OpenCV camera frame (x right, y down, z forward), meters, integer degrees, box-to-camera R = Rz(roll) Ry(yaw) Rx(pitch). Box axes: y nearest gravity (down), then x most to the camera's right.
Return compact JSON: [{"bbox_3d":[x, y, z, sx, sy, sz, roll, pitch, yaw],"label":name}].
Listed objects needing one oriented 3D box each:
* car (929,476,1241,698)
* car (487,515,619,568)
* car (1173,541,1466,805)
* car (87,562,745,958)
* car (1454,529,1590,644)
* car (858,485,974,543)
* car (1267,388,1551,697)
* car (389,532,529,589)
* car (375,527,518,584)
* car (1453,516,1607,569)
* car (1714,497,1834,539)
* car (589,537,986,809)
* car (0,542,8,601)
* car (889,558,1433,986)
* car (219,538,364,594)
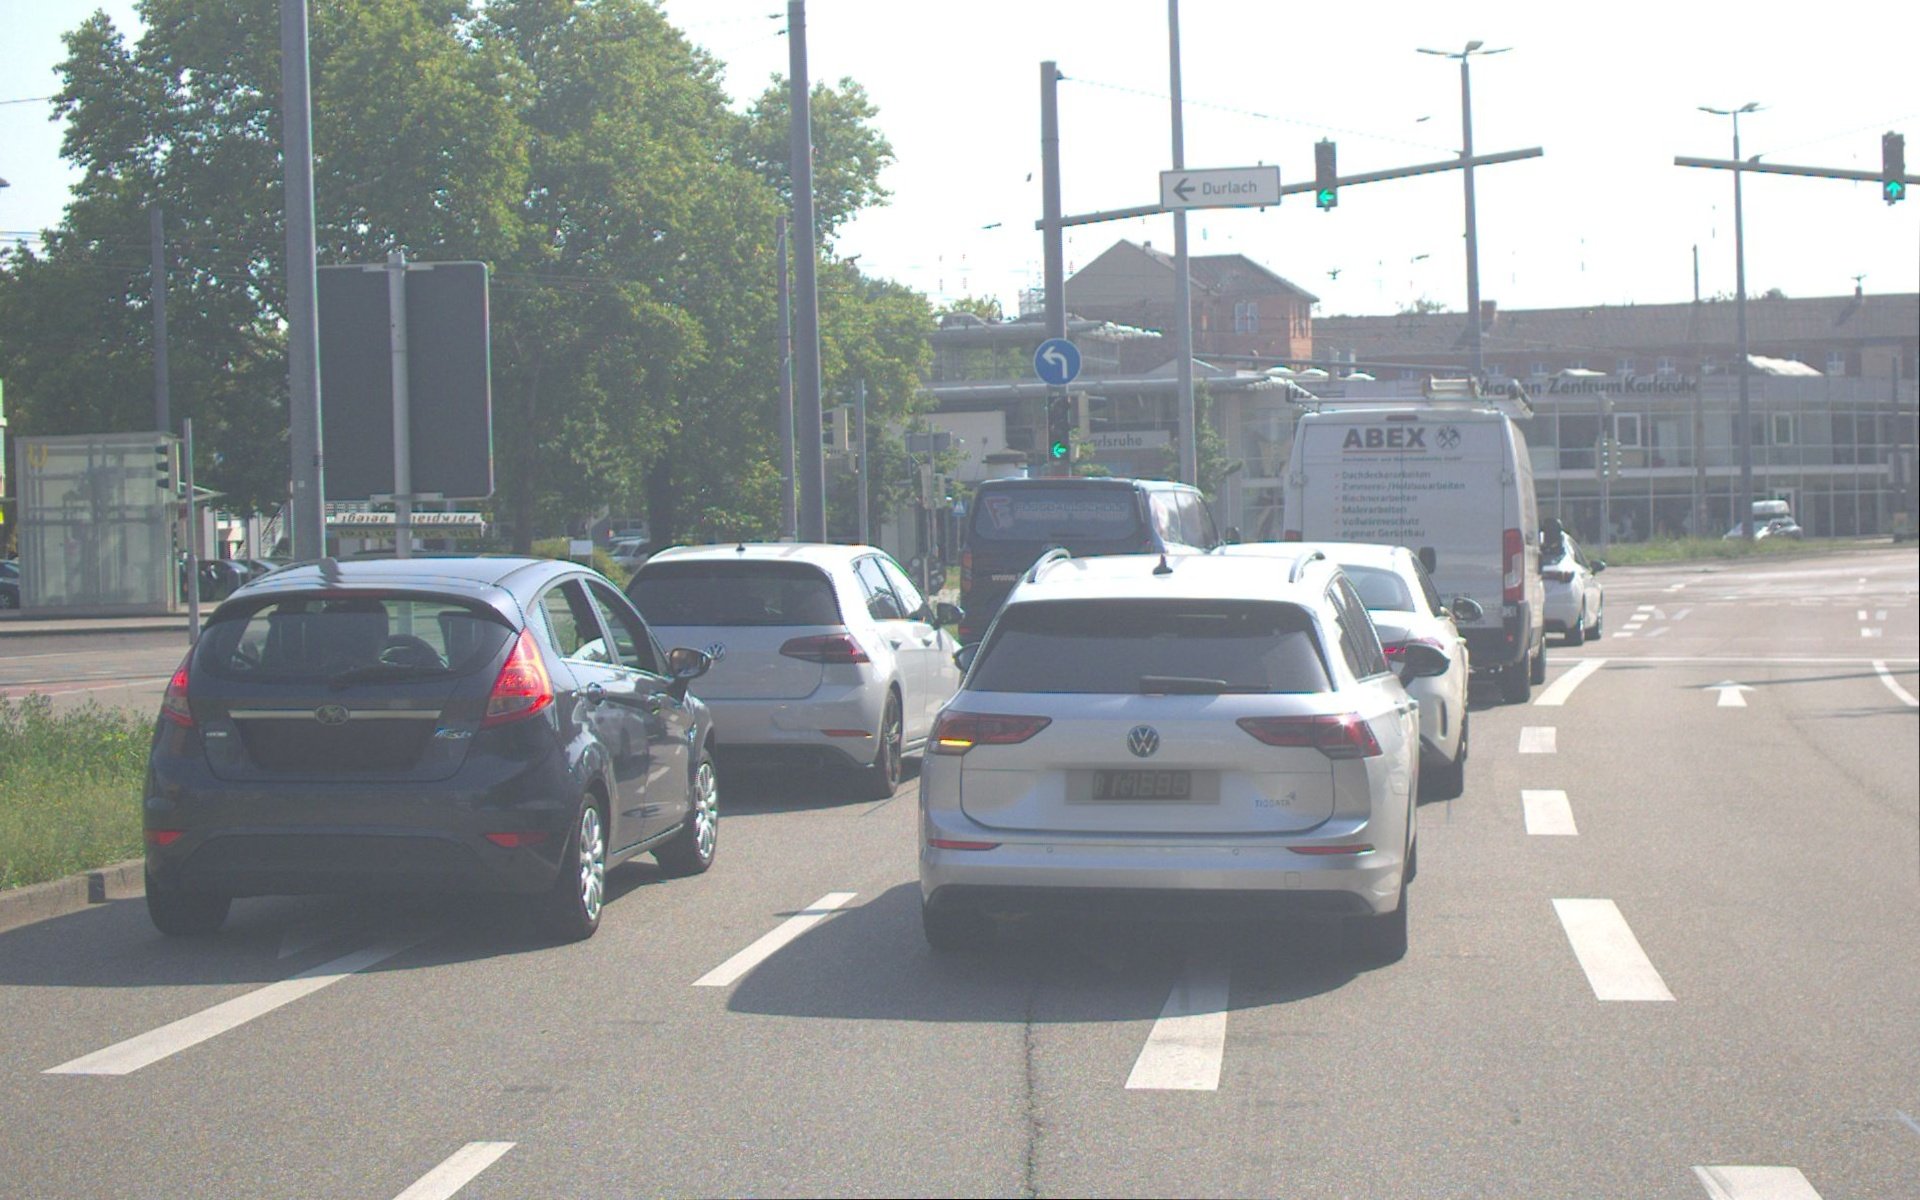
[{"bbox_3d":[1.310,-0.164,33.513,2.025,2.001,4.680,0,1,15],"label":"car"},{"bbox_3d":[-12.709,-1.841,107.526,3.986,1.552,1.728,-1,1,-5],"label":"car"},{"bbox_3d":[2.198,0.368,20.290,1.489,1.398,3.941,-1,1,9],"label":"car"},{"bbox_3d":[-2.056,0.549,14.142,1.701,1.363,3.963,-1,1,6],"label":"car"},{"bbox_3d":[7.297,-0.202,44.424,1.638,1.398,3.686,-1,1,10],"label":"car"},{"bbox_3d":[-1.599,-3.155,125.943,3.988,2.006,2.000,-1,4,7],"label":"car"},{"bbox_3d":[4.115,-0.502,30.849,2.190,2.540,4.681,-1,1,11],"label":"car"},{"bbox_3d":[-15.320,-1.210,105.195,3.987,1.612,1.813,-1,1,0],"label":"car"},{"bbox_3d":[-15.381,-1.339,103.072,3.987,1.612,1.813,-1,1,0],"label":"car"},{"bbox_3d":[15.596,-1.583,94.225,3.966,1.337,1.930,-1,1,4],"label":"car"},{"bbox_3d":[29.911,-3.017,126.377,3.987,1.437,2.000,-2,1,-30],"label":"car"},{"bbox_3d":[-0.931,0.370,20.469,1.490,1.410,3.646,-1,2,11],"label":"car"},{"bbox_3d":[-28.101,-0.708,93.315,3.986,1.552,1.870,-1,4,-3],"label":"car"},{"bbox_3d":[0.895,0.543,13.054,1.685,1.383,3.633,-1,1,9],"label":"car"},{"bbox_3d":[-19.643,-1.006,101.086,3.986,1.552,1.728,-1,1,-5],"label":"car"}]
